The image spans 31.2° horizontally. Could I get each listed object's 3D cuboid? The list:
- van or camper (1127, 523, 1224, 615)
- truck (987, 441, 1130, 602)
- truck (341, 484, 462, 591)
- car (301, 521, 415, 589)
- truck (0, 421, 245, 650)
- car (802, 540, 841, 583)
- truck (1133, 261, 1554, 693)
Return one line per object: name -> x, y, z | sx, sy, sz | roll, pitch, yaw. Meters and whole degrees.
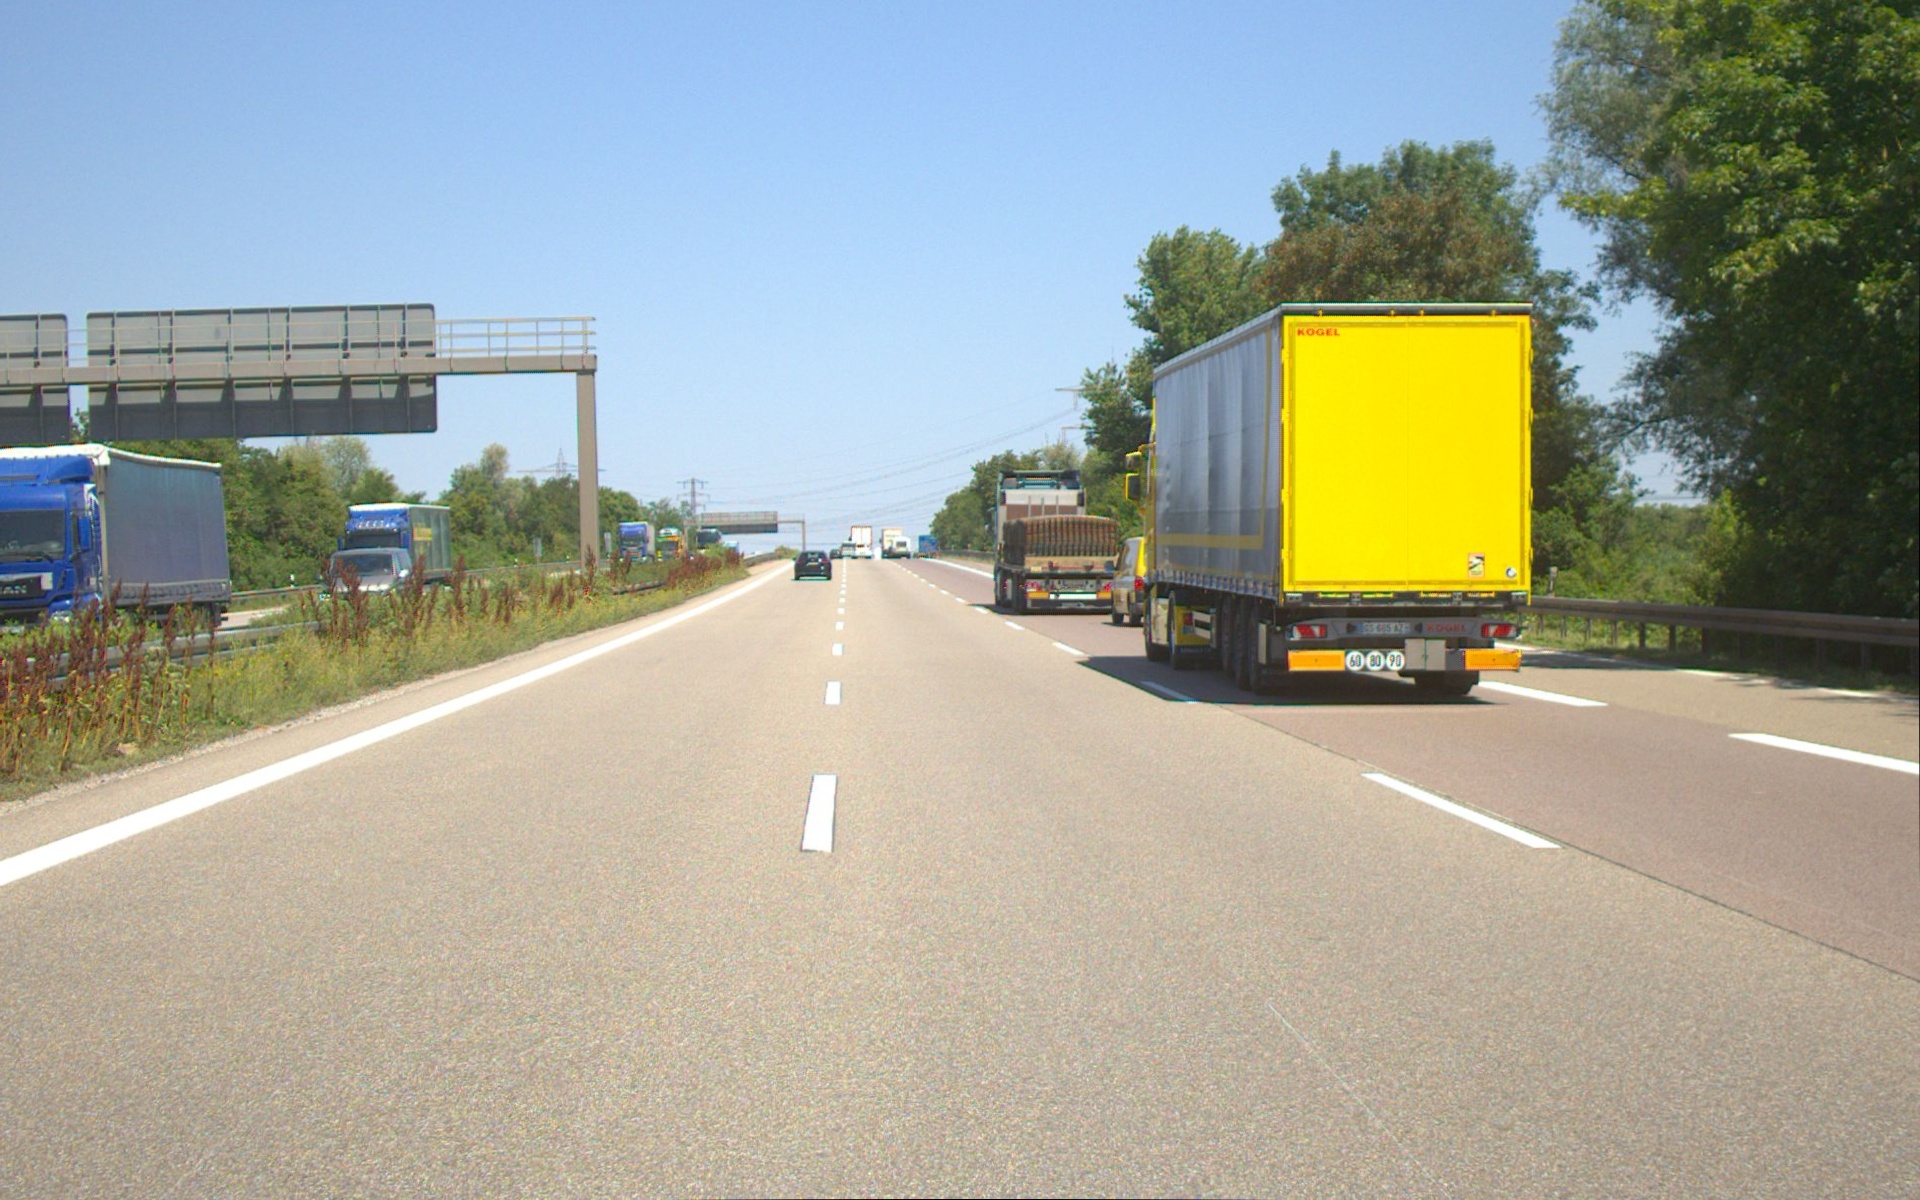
van or camper -> 4.628, -0.697, 74.356 | 1.994, 1.902, 4.971 | 0, 1, 3
truck -> 2.477, -1.995, 92.557 | 2.969, 3.943, 16.614 | 0, 0, -1
truck -> -24.439, -2.739, 151.494 | 2.955, 4.327, 18.244 | -2, 1, -2
car -> -14.699, -1.112, 84.150 | 1.993, 1.584, 4.818 | -1, 1, -1
truck -> -18.157, -1.323, 72.901 | 2.955, 4.231, 17.183 | -2, 1, -2
car -> -6.657, -1.847, 165.740 | 1.791, 2.007, 3.888 | 0, 0, -1
truck -> 4.244, -1.295, 42.619 | 2.845, 4.243, 16.793 | -1, 0, -1
